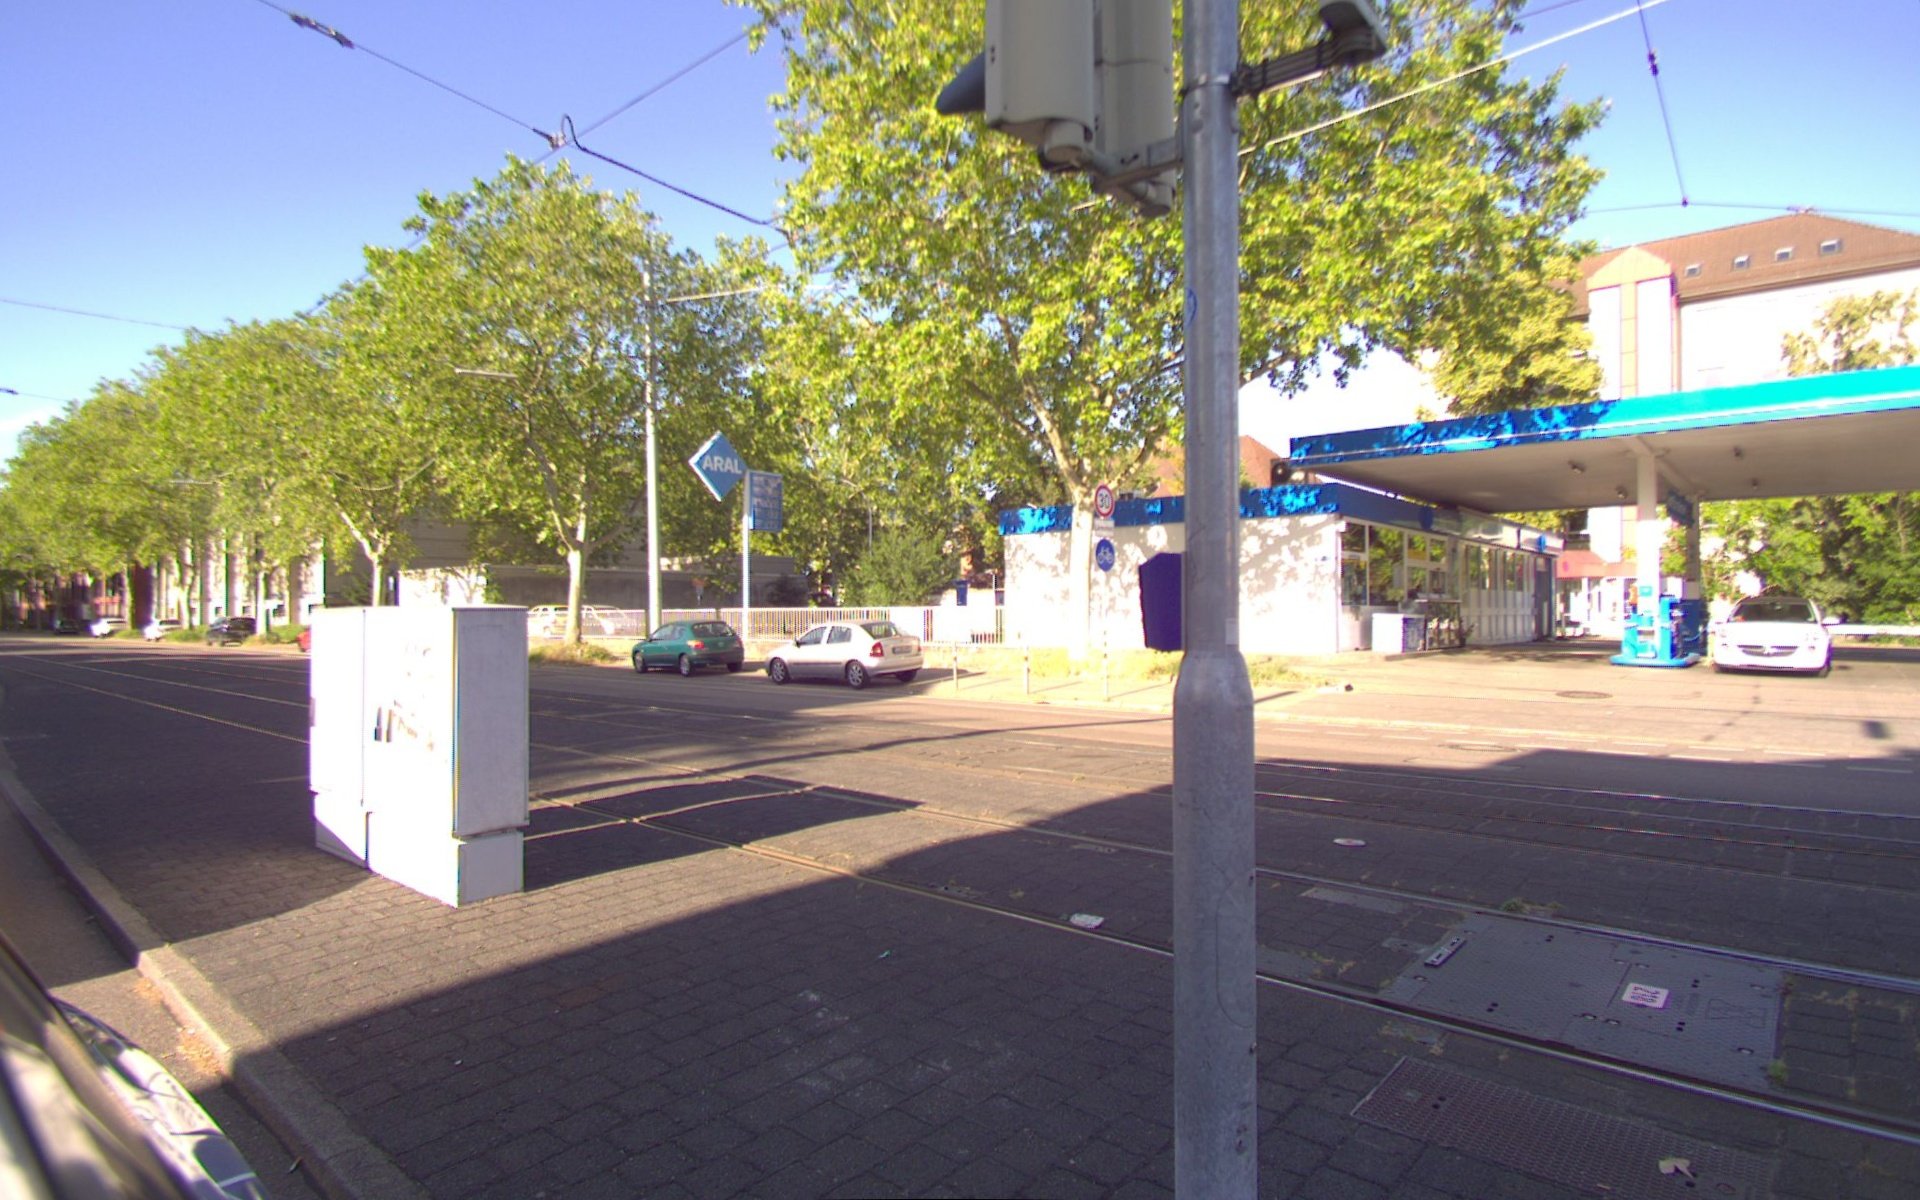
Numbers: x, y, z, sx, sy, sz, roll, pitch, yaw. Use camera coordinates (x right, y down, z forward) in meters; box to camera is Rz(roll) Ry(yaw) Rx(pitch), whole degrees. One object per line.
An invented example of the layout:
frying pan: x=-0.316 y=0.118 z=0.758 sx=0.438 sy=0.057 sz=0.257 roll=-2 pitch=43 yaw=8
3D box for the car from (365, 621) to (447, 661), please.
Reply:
car: x=-21.982 y=1.588 z=40.093 sx=3.858 sy=1.468 sz=1.735 roll=-1 pitch=0 yaw=43

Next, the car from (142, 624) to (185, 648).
car: x=-53.635 y=2.398 z=68.124 sx=3.858 sy=1.495 sz=1.735 roll=-1 pitch=0 yaw=43

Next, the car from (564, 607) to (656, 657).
car: x=-15.143 y=1.365 z=43.692 sx=3.996 sy=2.029 sz=1.974 roll=-1 pitch=-1 yaw=39

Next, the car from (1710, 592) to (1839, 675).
car: x=15.943 y=0.616 z=19.784 sx=1.793 sy=1.453 sz=3.946 roll=-1 pitch=-1 yaw=40

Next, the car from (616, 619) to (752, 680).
car: x=-7.431 y=1.275 z=27.078 sx=3.858 sy=1.408 sz=1.722 roll=-1 pitch=1 yaw=43

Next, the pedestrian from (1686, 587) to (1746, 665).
pedestrian: x=16.144 y=0.557 z=21.622 sx=0.805 sy=1.642 sz=0.644 roll=-1 pitch=-1 yaw=15

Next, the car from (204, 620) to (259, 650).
car: x=-40.673 y=1.955 z=56.488 sx=3.858 sy=1.557 sz=1.735 roll=-1 pitch=0 yaw=43

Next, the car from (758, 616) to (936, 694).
car: x=-2.571 y=1.168 z=22.598 sx=3.857 sy=1.497 sz=1.823 roll=-1 pitch=1 yaw=42

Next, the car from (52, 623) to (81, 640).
car: x=-84.869 y=3.010 z=96.119 sx=3.858 sy=1.495 sz=1.735 roll=-1 pitch=0 yaw=43

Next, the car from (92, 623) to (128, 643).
car: x=-66.923 y=2.578 z=79.644 sx=3.858 sy=1.495 sz=1.735 roll=-1 pitch=0 yaw=43

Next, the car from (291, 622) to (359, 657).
car: x=-28.909 y=1.774 z=46.048 sx=3.858 sy=1.440 sz=1.695 roll=-1 pitch=0 yaw=43

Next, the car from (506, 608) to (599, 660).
car: x=-17.042 y=1.394 z=42.265 sx=3.996 sy=2.029 sz=1.974 roll=-1 pitch=-1 yaw=39
